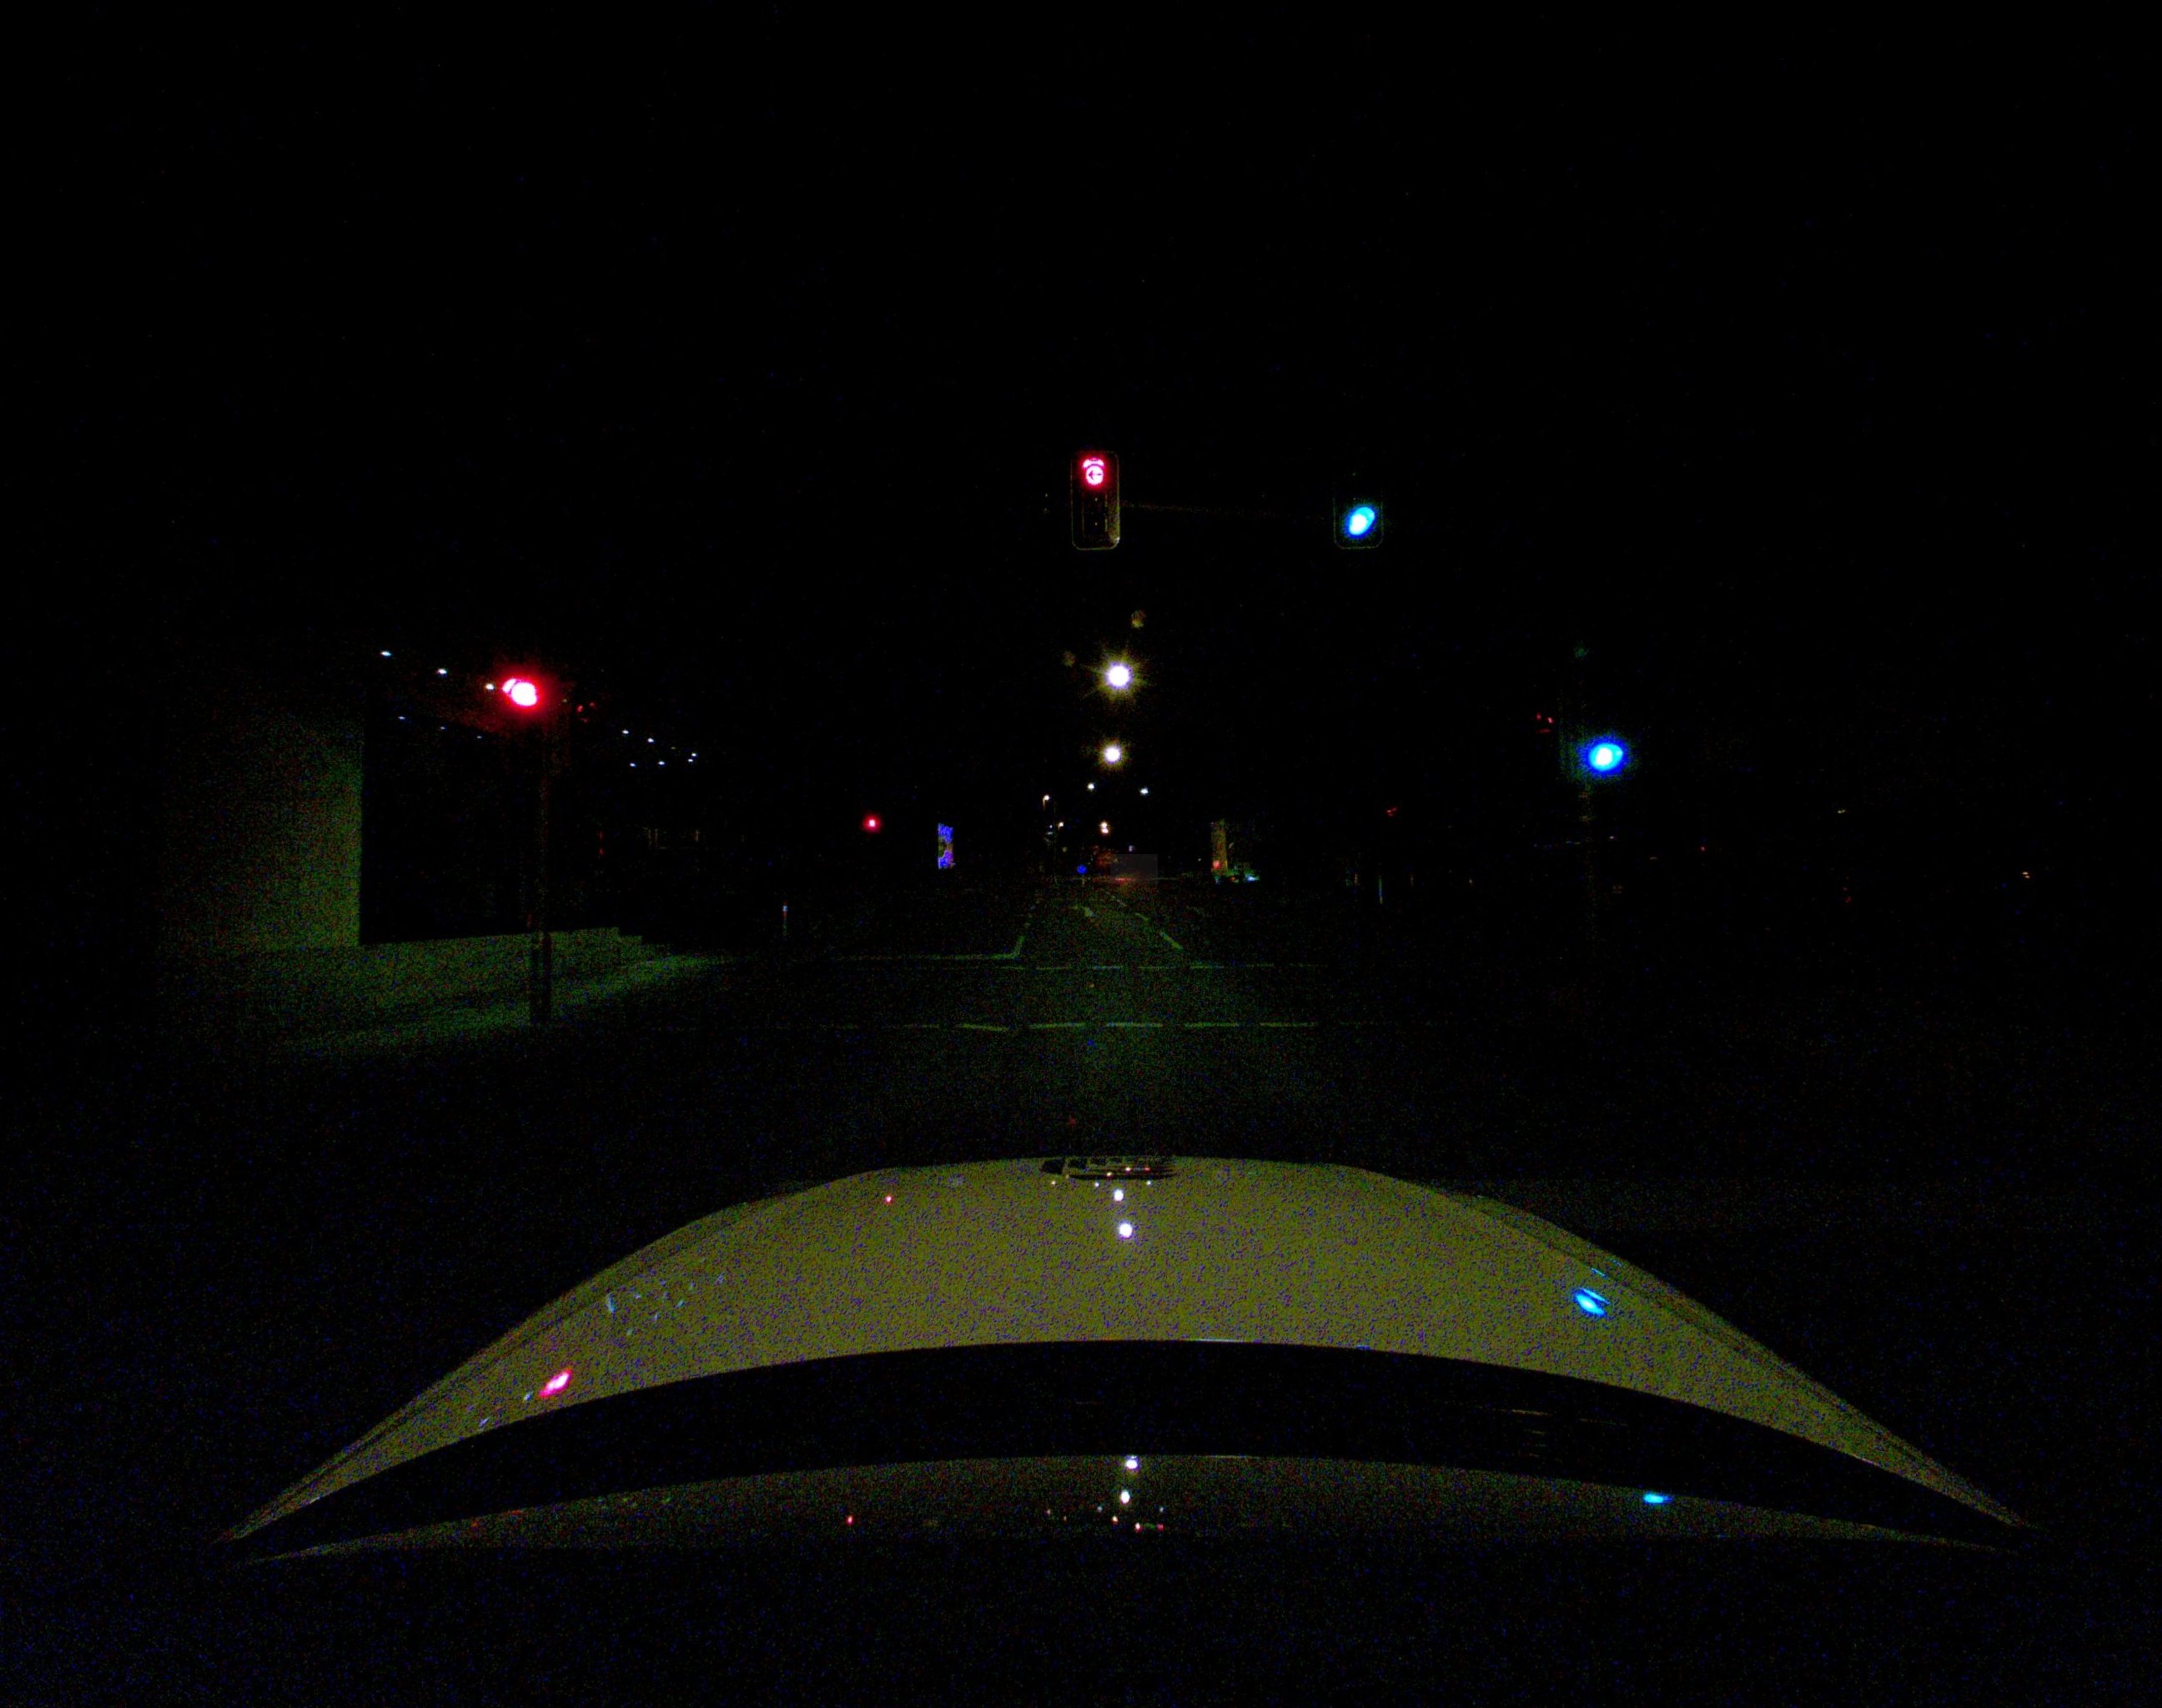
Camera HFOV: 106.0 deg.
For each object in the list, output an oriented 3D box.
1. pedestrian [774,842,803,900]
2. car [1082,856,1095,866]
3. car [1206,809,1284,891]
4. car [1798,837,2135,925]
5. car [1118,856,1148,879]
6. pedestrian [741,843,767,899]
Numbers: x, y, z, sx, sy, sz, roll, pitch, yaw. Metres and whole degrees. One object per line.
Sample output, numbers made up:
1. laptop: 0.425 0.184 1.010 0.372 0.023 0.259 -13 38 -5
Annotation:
1. pedestrian: -9.068 0.527 25.270 0.568 1.778 0.737 1 -1 1
2. car: 1.257 1.171 134.569 1.901 1.557 3.906 0 -1 2
3. car: 6.760 -0.135 34.226 2.287 3.093 5.845 -2 -1 3
4. car: 17.455 0.566 16.295 4.342 1.560 1.807 -2 -3 8
5. car: 3.474 0.890 55.419 1.770 1.486 3.999 0 -1 0
6. pedestrian: -10.282 0.523 25.613 0.568 1.731 0.544 0 -1 1
